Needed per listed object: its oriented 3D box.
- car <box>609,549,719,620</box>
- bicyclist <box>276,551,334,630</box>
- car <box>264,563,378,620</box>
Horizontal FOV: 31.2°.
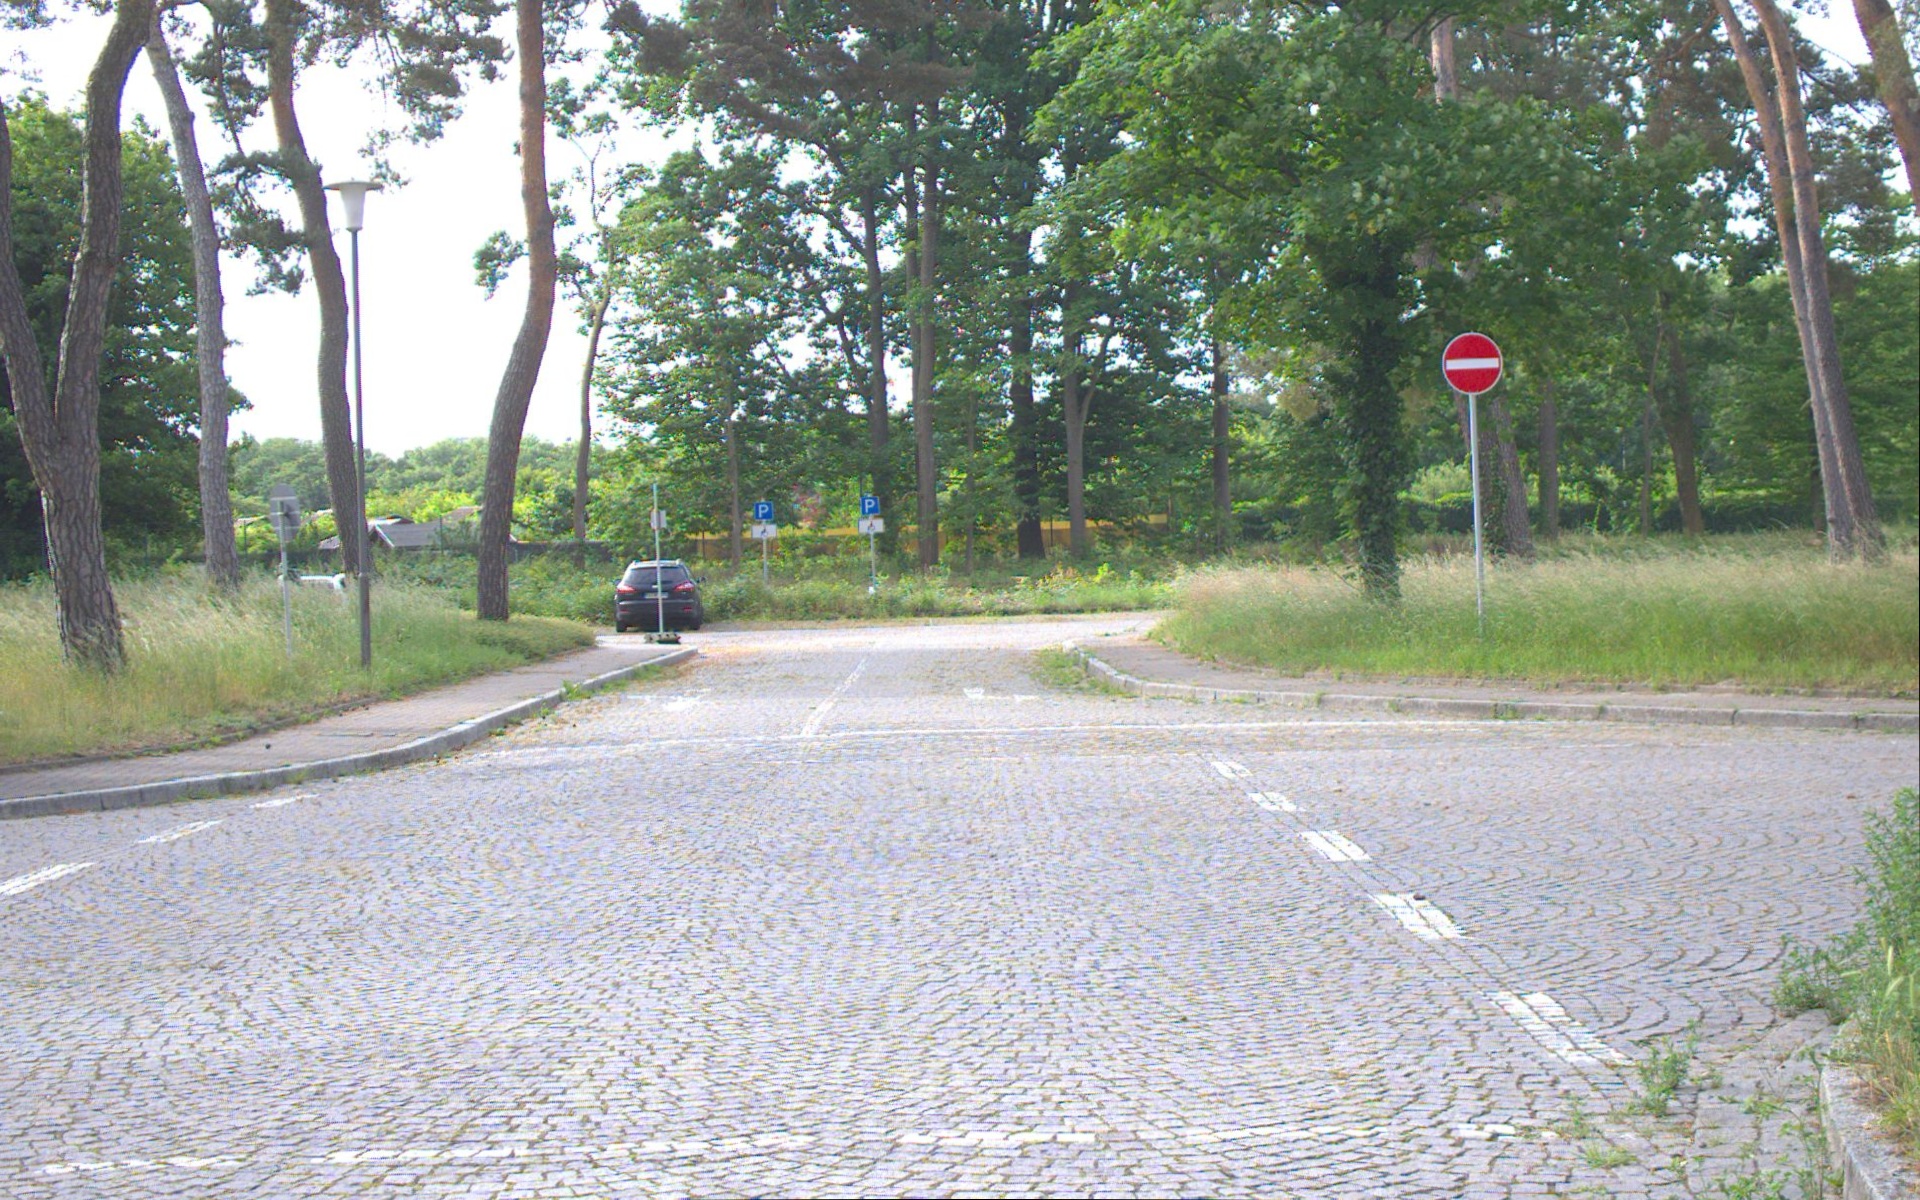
[{"bbox_3d":[-6.459,-0.359,75.355,1.993,1.503,4.000,0,1,1],"label":"car"},{"bbox_3d":[-12.884,-0.195,67.632,0.974,1.505,0.807,-2,1,-3],"label":"bicyclist"},{"bbox_3d":[-14.169,-0.203,76.377,1.689,1.152,4.000,-2,1,1],"label":"car"}]
